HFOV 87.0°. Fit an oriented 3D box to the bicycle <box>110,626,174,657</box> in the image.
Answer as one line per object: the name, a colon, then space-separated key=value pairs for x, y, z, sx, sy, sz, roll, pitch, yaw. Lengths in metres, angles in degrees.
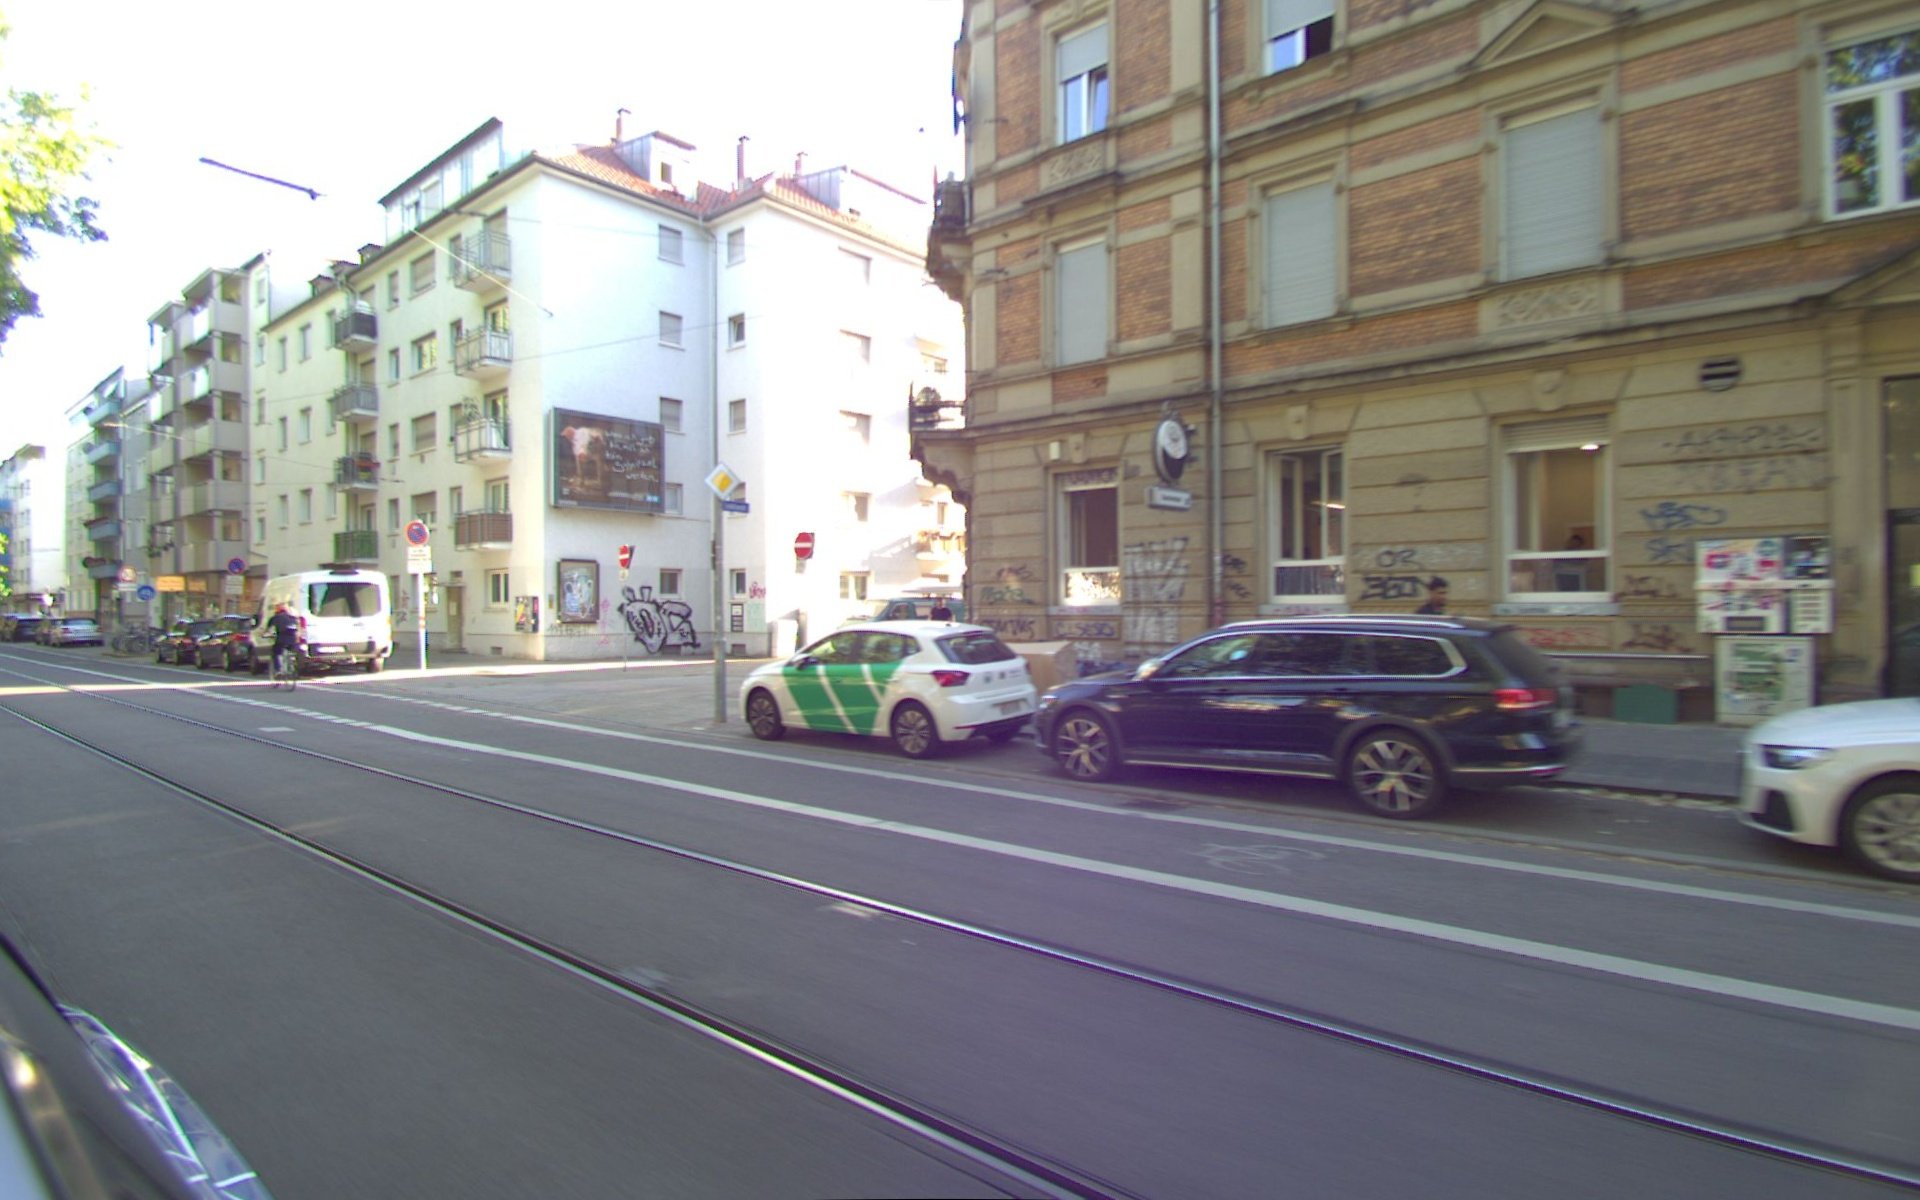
bicycle: x=-32.702 y=1.640 z=40.491 sx=1.945 sy=1.127 sz=0.425 roll=-2 pitch=0 yaw=-43

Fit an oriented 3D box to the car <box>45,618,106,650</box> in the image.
car: x=-43.058 y=1.628 z=49.210 sx=4.726 sy=1.502 sz=1.672 roll=-1 pitch=-1 yaw=42

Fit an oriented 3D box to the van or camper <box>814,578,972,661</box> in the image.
van or camper: x=-2.010 y=0.605 z=31.922 sx=2.021 sy=2.405 sz=5.049 roll=-1 pitch=-1 yaw=41

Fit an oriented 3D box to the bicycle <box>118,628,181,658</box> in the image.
bicycle: x=-31.304 y=1.660 z=39.090 sx=1.871 sy=1.045 sz=0.402 roll=-2 pitch=0 yaw=-43

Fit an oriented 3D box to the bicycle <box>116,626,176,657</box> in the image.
bicycle: x=-32.188 y=1.632 z=40.036 sx=1.797 sy=1.127 sz=0.425 roll=-2 pitch=0 yaw=-43

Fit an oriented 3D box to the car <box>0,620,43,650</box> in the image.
car: x=-55.144 y=2.026 z=59.229 sx=4.199 sy=1.612 sz=1.640 roll=-1 pitch=1 yaw=40

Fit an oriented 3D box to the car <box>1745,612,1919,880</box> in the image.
car: x=6.821 y=0.797 z=5.478 sx=3.993 sy=1.431 sz=1.684 roll=-1 pitch=0 yaw=37

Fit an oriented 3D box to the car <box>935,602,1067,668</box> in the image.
car: x=1.085 y=0.893 z=26.373 sx=3.133 sy=1.597 sz=1.722 roll=0 pitch=-3 yaw=-44

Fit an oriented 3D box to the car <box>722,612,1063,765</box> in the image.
car: x=-0.923 y=0.927 z=12.232 sx=4.042 sy=1.503 sz=1.723 roll=-1 pitch=0 yaw=40

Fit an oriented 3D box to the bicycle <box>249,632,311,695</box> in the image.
bicycle: x=-13.525 y=1.229 z=20.092 sx=2.230 sy=1.159 sz=0.416 roll=0 pitch=-2 yaw=40

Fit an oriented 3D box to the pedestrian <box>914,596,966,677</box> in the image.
pedestrian: x=-0.453 y=0.820 z=22.629 sx=0.894 sy=1.762 sz=0.649 roll=-3 pitch=-1 yaw=45

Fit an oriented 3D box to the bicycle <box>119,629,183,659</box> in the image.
bicycle: x=-30.911 y=1.682 z=38.676 sx=1.871 sy=1.045 sz=0.402 roll=-2 pitch=0 yaw=-43

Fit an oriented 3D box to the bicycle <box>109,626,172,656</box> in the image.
bicycle: x=-33.048 y=1.645 z=40.835 sx=1.937 sy=1.127 sz=0.440 roll=-2 pitch=0 yaw=-43

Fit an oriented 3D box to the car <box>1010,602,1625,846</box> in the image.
car: x=2.874 y=0.846 z=8.882 sx=4.782 sy=1.574 sz=1.723 roll=-1 pitch=0 yaw=40

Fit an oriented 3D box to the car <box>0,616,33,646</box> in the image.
car: x=-58.988 y=1.930 z=62.603 sx=4.484 sy=1.751 sz=1.762 roll=-1 pitch=1 yaw=39

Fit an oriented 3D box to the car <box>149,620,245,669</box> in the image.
car: x=-24.814 y=1.378 z=32.841 sx=4.571 sy=1.467 sz=1.700 roll=-1 pitch=-1 yaw=43

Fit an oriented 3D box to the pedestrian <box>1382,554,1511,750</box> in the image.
pedestrian: x=4.795 y=0.484 z=9.966 sx=1.053 sy=1.814 sz=0.678 roll=-1 pitch=0 yaw=32

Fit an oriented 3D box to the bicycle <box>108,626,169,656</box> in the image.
bicycle: x=-33.439 y=1.651 z=41.207 sx=1.908 sy=1.127 sz=0.440 roll=-2 pitch=0 yaw=-43

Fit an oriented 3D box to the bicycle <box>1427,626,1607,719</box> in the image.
bicycle: x=6.663 y=0.843 z=12.172 sx=1.846 sy=1.042 sz=0.368 roll=-1 pitch=-1 yaw=38

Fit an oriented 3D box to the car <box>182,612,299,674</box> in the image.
car: x=-20.771 y=1.186 z=29.170 sx=4.343 sy=1.644 sz=1.701 roll=-1 pitch=-1 yaw=40

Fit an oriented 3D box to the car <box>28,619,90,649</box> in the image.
car: x=-46.707 y=1.739 z=52.441 sx=4.237 sy=1.502 sz=1.776 roll=-1 pitch=-1 yaw=40

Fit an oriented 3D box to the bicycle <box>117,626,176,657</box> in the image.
bicycle: x=-31.871 y=1.628 z=39.670 sx=1.767 sy=1.127 sz=0.425 roll=-2 pitch=0 yaw=-43

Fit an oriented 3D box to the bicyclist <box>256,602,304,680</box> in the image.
bicyclist: x=-13.445 y=0.801 z=20.016 sx=0.806 sy=1.493 sz=0.576 roll=-1 pitch=-2 yaw=41

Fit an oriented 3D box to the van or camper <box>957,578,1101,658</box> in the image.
van or camper: x=2.617 y=0.659 z=36.973 sx=2.156 sy=2.690 sz=5.930 roll=-2 pitch=-2 yaw=40

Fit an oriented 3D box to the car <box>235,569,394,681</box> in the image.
car: x=-16.545 y=0.613 z=25.795 sx=5.666 sy=2.555 sz=2.042 roll=-1 pitch=-1 yaw=43
